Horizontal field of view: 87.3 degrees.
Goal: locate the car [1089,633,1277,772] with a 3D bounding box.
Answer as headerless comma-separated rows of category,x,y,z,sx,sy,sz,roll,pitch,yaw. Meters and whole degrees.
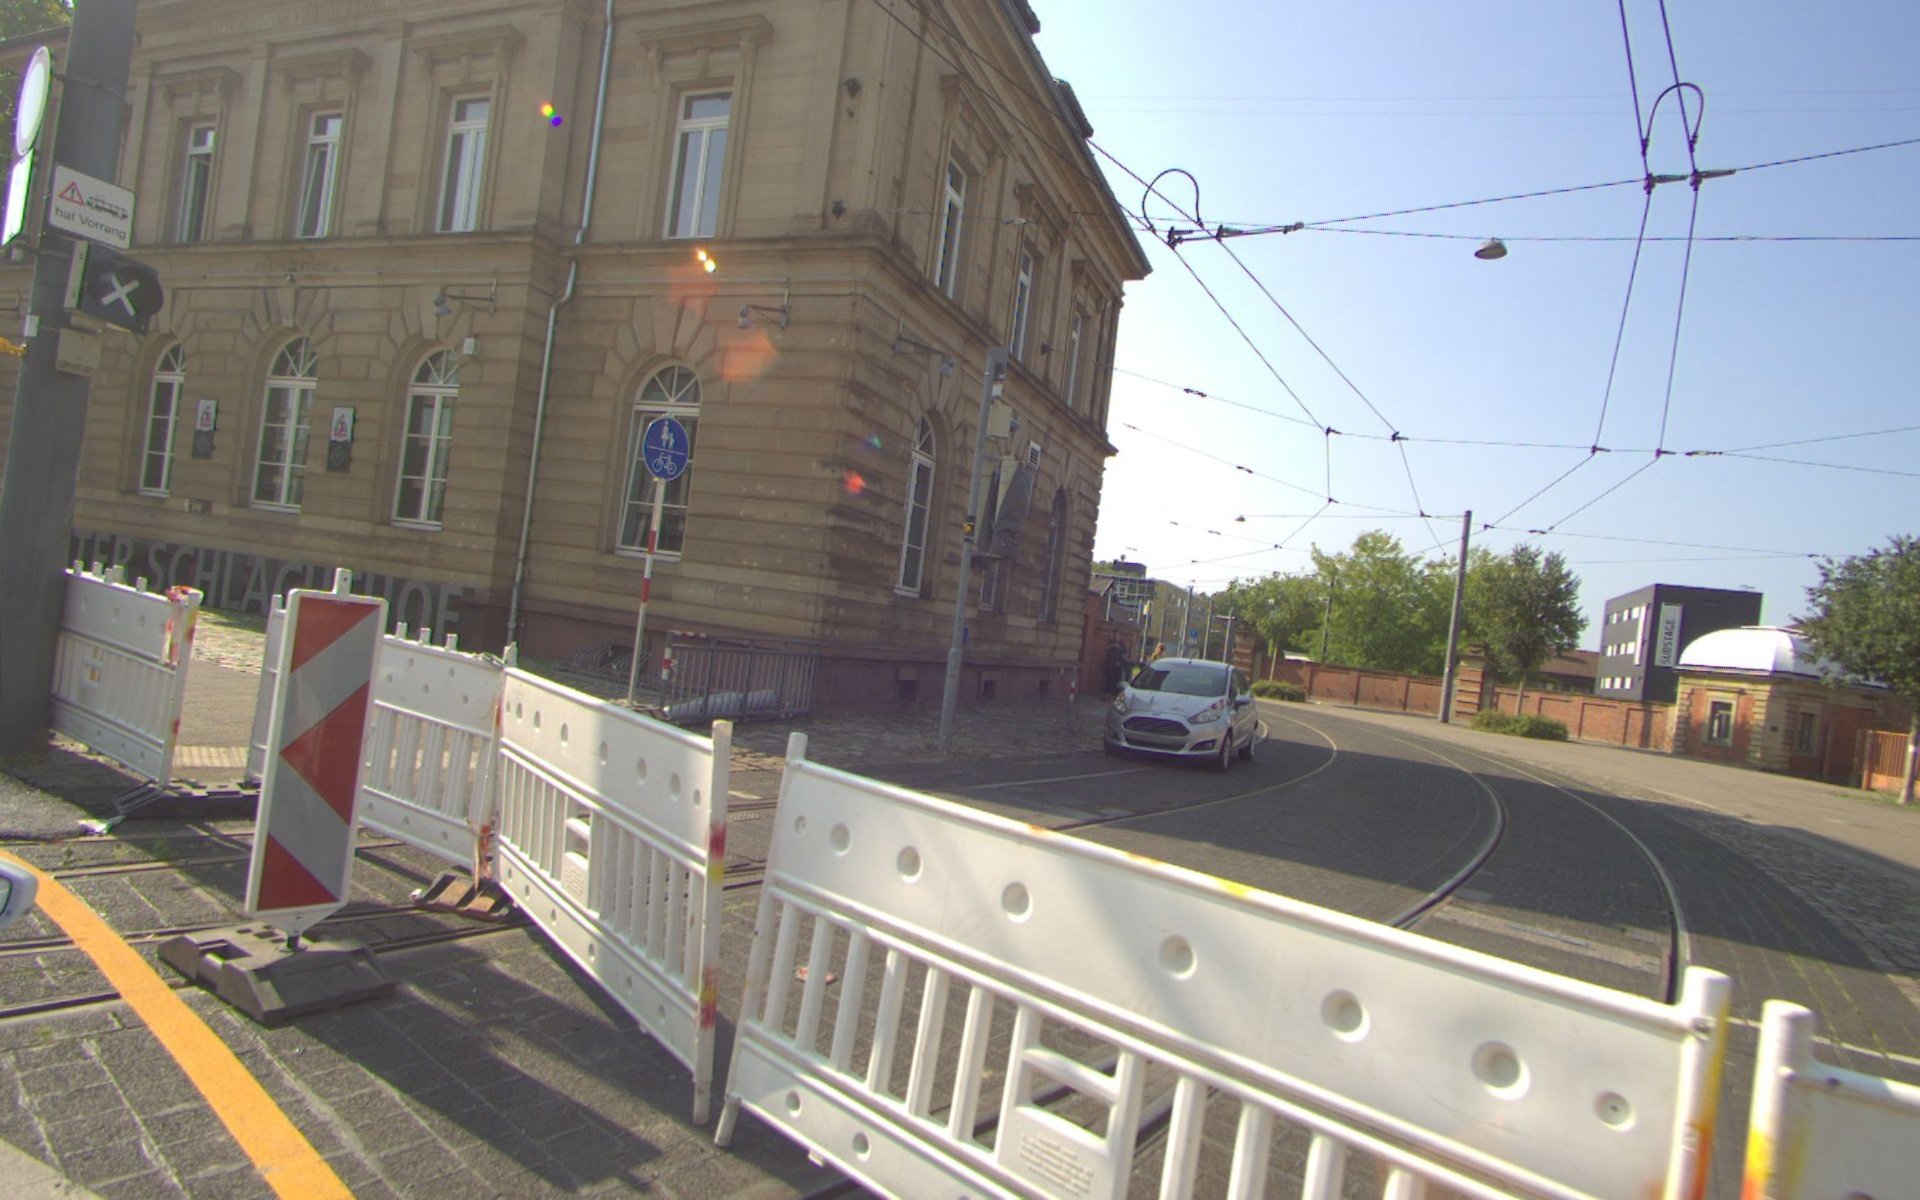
car,3.395,1.436,14.704,1.636,1.555,4.009,7,-1,26

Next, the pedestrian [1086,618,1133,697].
pedestrian,3.817,1.470,25.666,0.853,1.887,0.671,7,0,21

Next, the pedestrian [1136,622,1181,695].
pedestrian,5.539,1.626,28.127,1.018,1.887,0.671,7,0,9
